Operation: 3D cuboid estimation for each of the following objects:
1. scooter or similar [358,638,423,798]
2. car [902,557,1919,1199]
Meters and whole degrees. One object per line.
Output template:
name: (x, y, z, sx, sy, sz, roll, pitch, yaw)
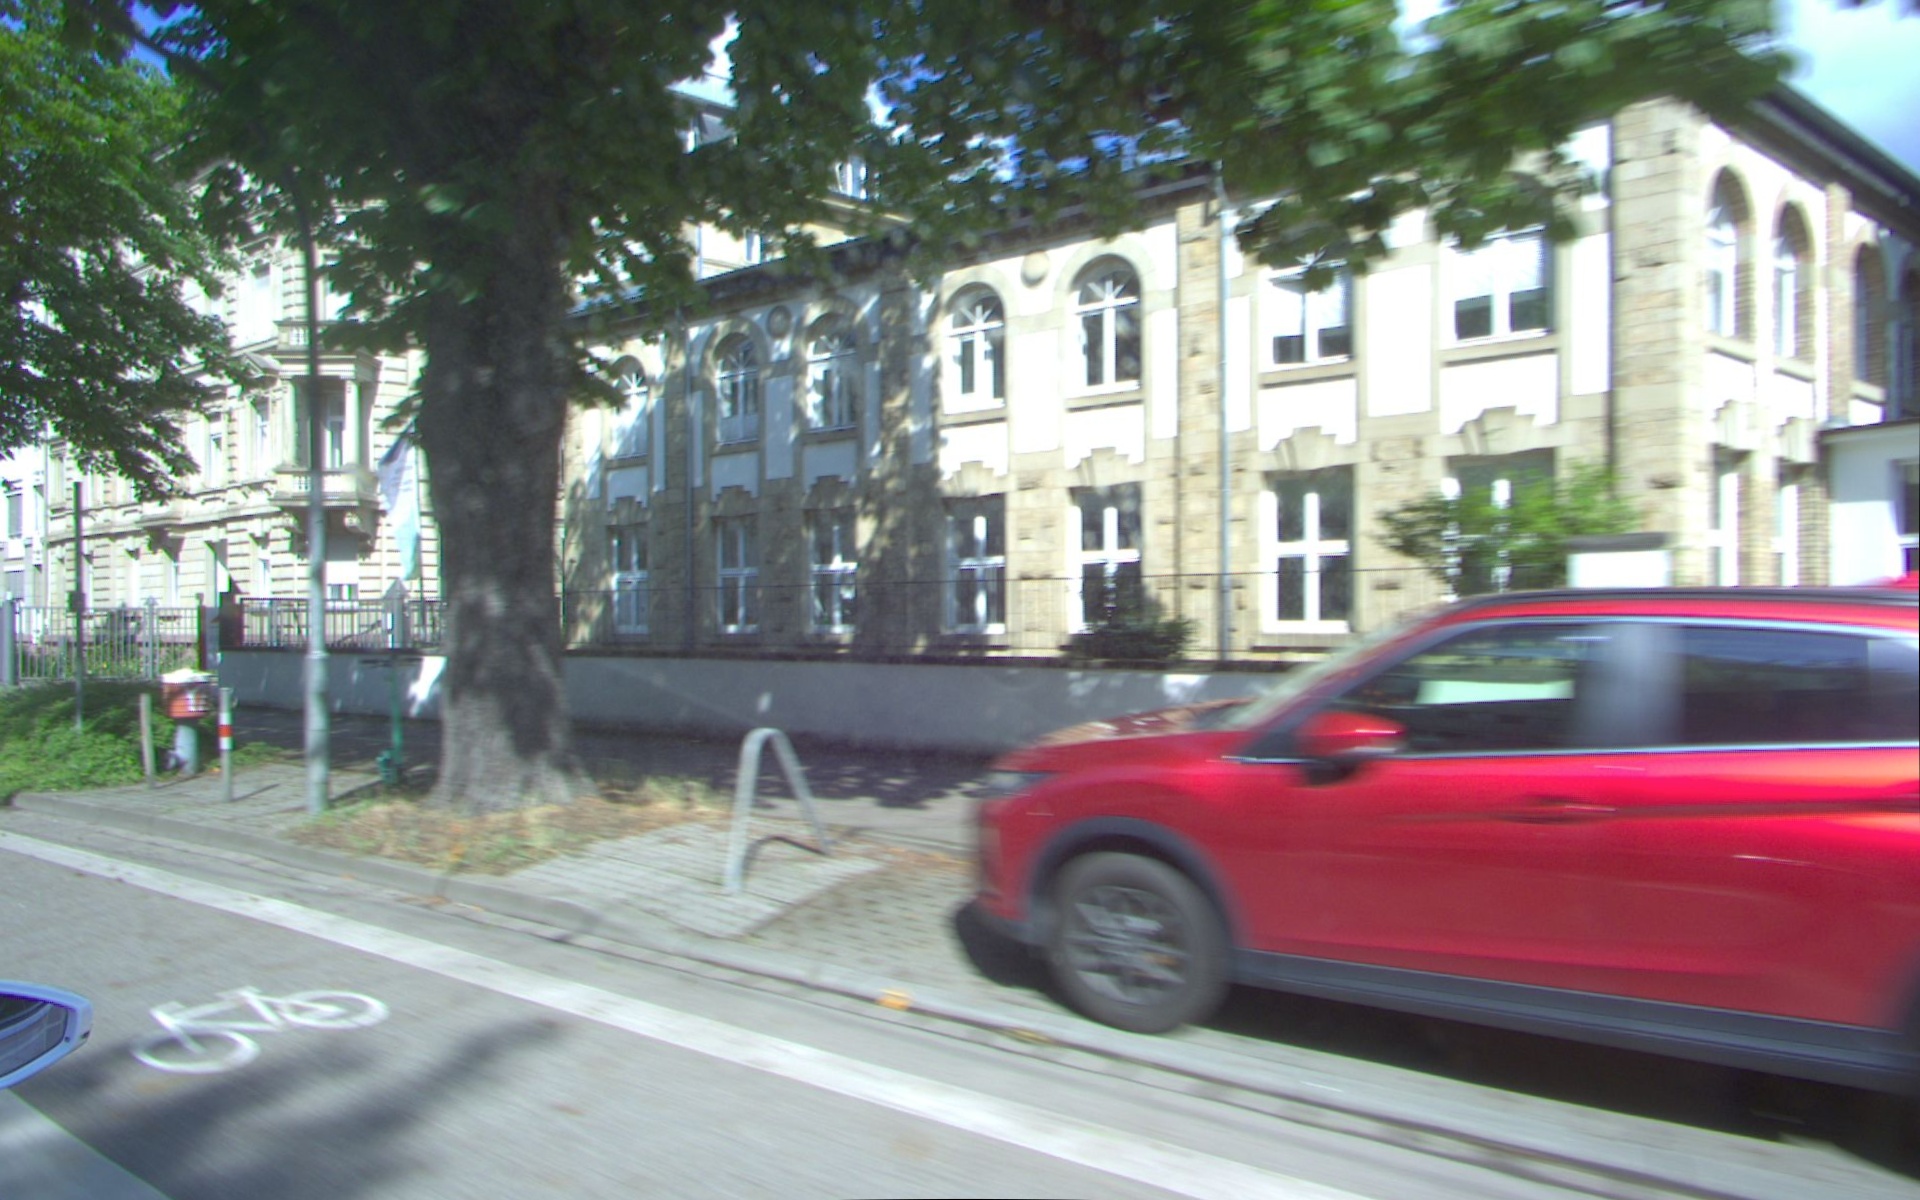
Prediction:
scooter or similar: (-4.991, 0.987, 8.751, 0.338, 1.254, 1.251, -3, 2, -34)
car: (2.057, 0.750, 3.953, 4.217, 1.698, 1.873, -1, 0, 29)
